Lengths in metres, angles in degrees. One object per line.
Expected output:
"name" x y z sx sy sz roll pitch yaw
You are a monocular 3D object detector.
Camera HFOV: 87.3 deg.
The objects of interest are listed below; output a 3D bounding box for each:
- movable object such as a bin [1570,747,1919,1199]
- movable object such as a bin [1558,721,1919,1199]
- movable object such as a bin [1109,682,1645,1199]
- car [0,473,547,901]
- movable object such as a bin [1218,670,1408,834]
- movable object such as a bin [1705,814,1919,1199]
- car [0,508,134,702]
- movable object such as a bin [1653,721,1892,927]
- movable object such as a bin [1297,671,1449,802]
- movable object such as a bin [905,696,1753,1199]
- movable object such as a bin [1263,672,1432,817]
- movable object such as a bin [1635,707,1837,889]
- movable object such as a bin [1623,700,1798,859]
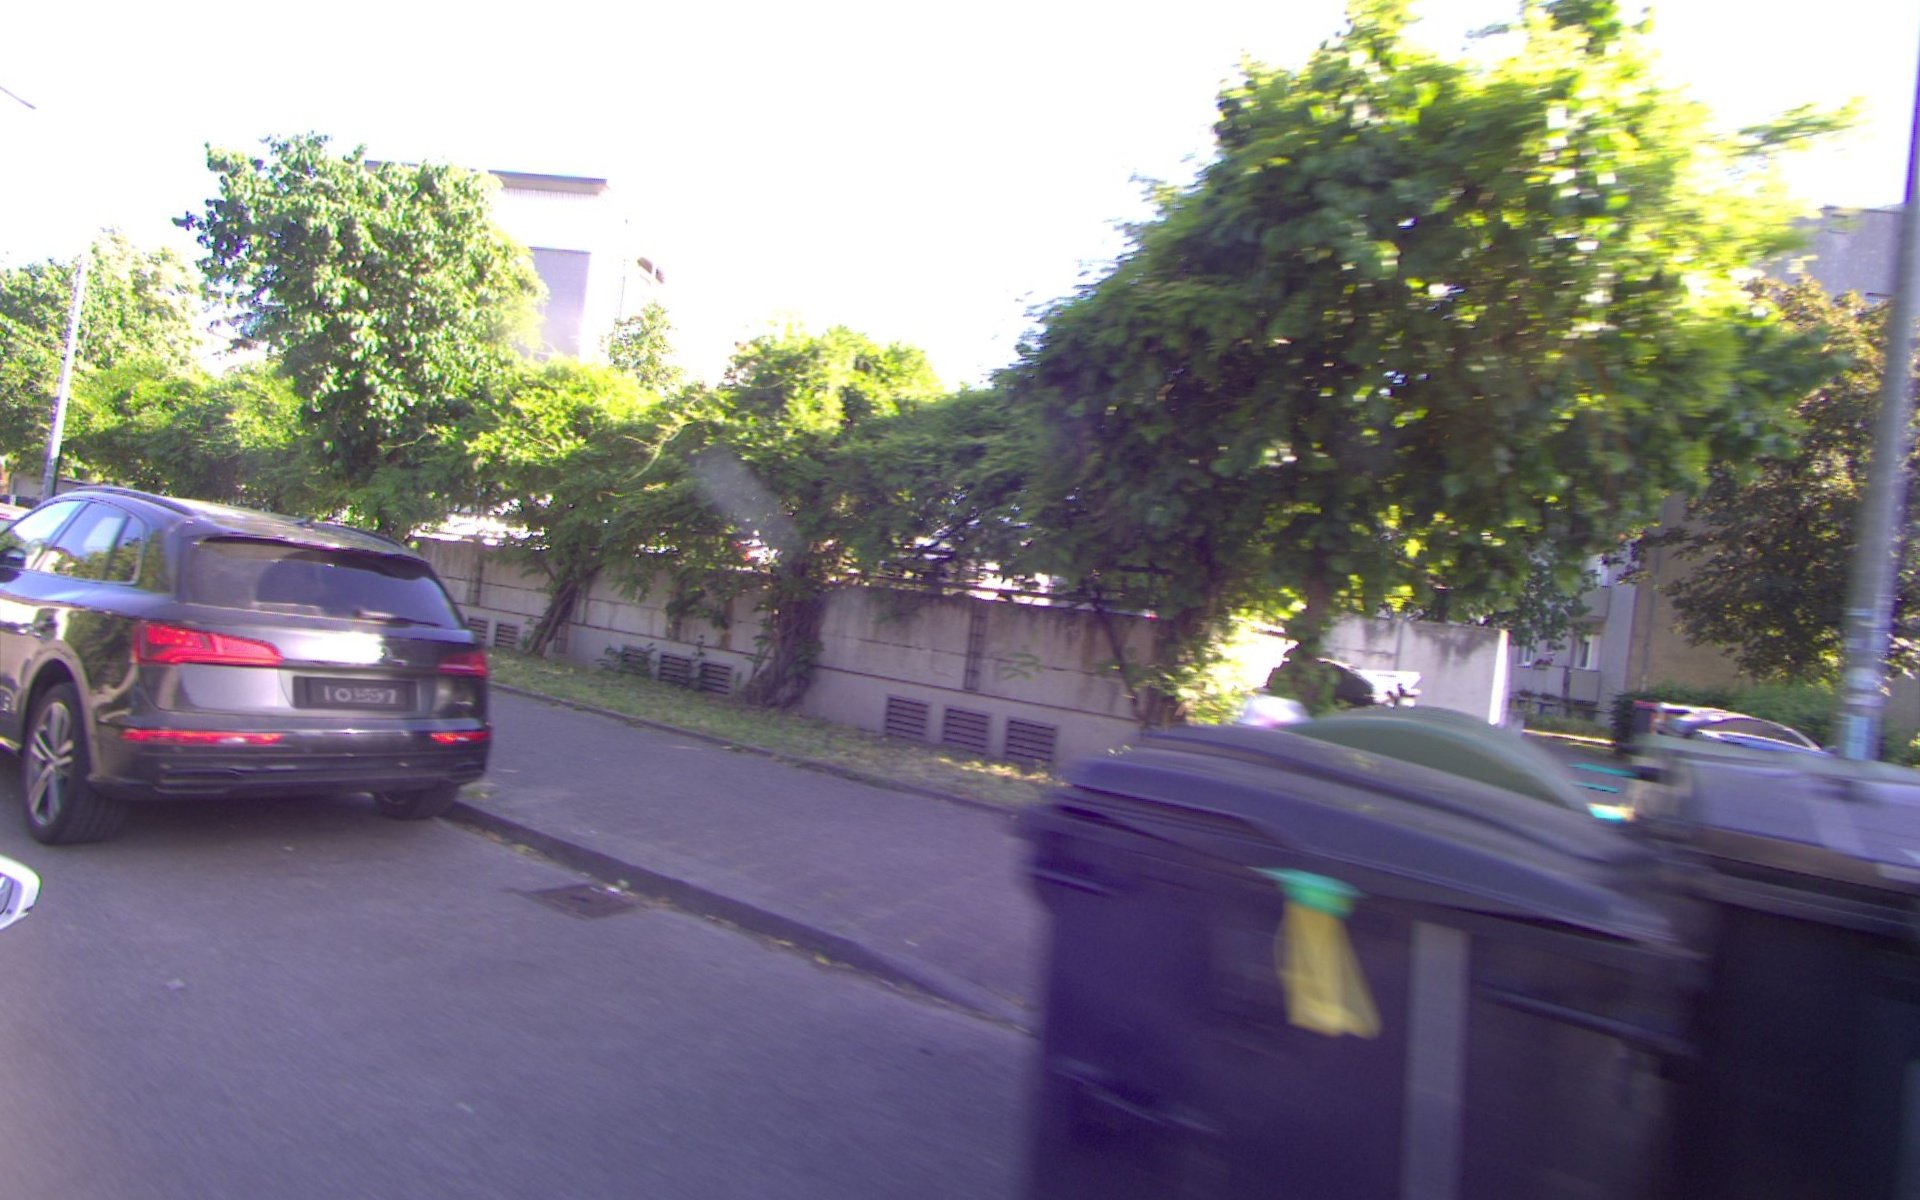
"movable object such as a bin" 2.267 1.178 2.301 1.339 1.436 1.109 8 -1 37
"movable object such as a bin" 2.855 1.236 3.234 1.397 1.467 1.040 5 1 37
"movable object such as a bin" 1.297 1.071 3.059 1.153 1.465 1.092 5 -3 37
"car" -4.720 0.262 6.020 4.389 1.683 1.813 7 -2 33
"movable object such as a bin" 3.561 1.452 10.086 1.360 1.322 1.413 7 0 34
"movable object such as a bin" 1.619 1.122 1.254 1.105 1.331 1.268 9 2 38
"car" -9.197 -0.152 8.925 3.762 1.504 1.688 6 -3 33
"movable object such as a bin" 6.890 1.834 8.675 1.360 1.322 1.413 7 0 34
"movable object such as a bin" 5.148 1.642 12.504 1.360 1.322 1.413 7 0 34
"movable object such as a bin" 0.745 0.985 1.995 1.153 1.414 1.227 7 0 38
"movable object such as a bin" 4.365 1.563 11.293 1.360 1.322 1.413 7 0 34
"movable object such as a bin" 7.578 1.871 9.954 1.360 1.391 1.427 7 1 34
"movable object such as a bin" 8.302 1.928 11.235 1.360 1.391 1.427 7 1 34
